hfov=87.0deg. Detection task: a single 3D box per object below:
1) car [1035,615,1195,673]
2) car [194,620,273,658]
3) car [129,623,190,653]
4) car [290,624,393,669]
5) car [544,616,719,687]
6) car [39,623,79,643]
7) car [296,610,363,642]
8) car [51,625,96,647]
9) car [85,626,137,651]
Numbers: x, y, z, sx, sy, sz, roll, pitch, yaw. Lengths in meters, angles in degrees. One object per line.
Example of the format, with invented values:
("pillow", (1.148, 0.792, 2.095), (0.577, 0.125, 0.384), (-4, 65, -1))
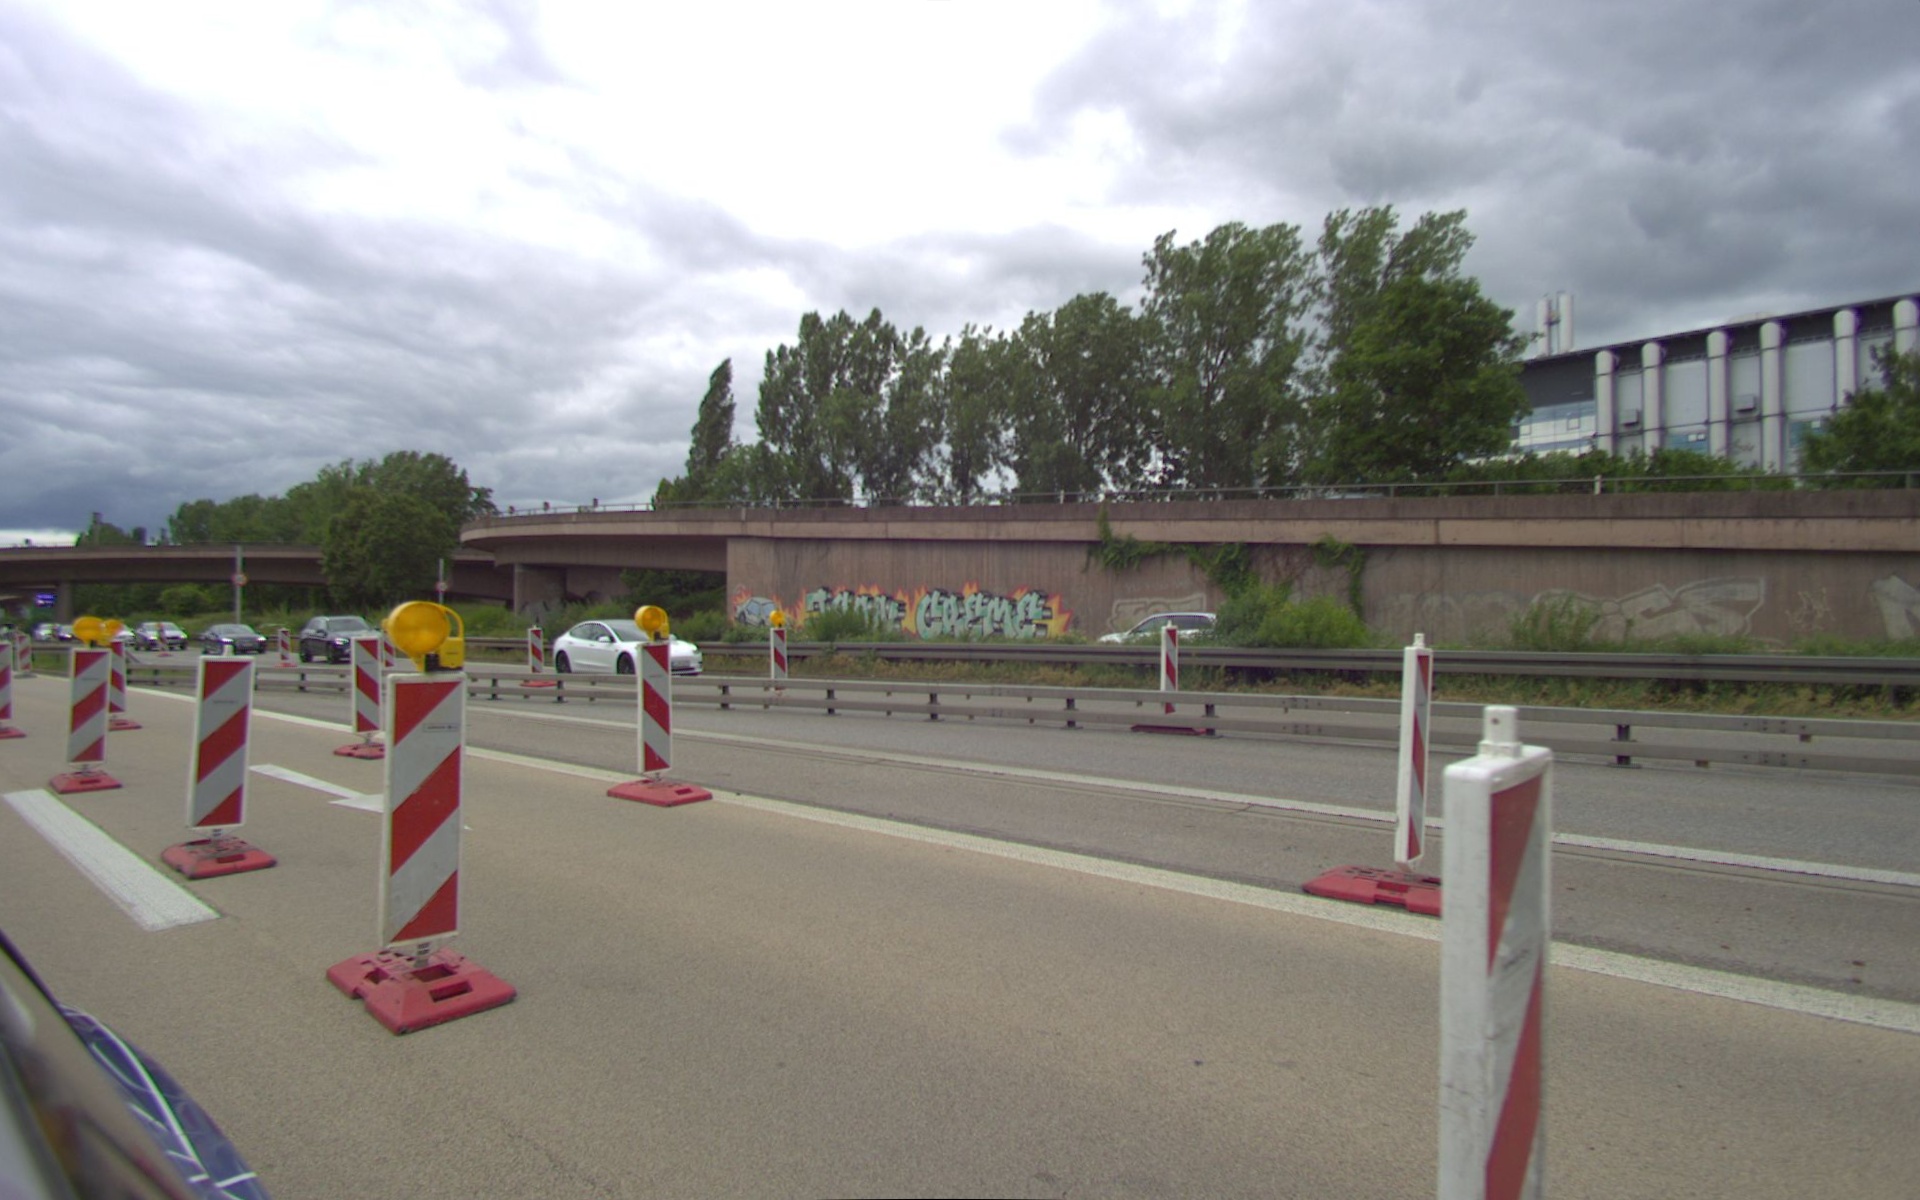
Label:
("car", (4.212, 1.171, 27.766), (3.975, 1.463, 1.871), (-1, -2, 39))
("car", (-33.957, 1.788, 47.274), (3.993, 1.716, 1.913), (-1, -2, 37))
("car", (-44.076, 2.066, 55.710), (3.996, 1.523, 1.780), (0, -1, 39))
("car", (-22.391, 1.633, 36.603), (4.289, 1.522, 1.955), (-1, -1, 40))
("car", (-7.939, 1.190, 24.269), (4.458, 1.553, 1.972), (-1, -3, 41))
("car", (-73.891, 2.709, 82.971), (4.290, 1.606, 1.972), (-1, -2, 41))
("car", (-33.771, 1.387, 54.169), (4.288, 1.652, 1.835), (-1, -1, 40))
("car", (-65.674, 2.653, 74.955), (4.290, 1.606, 1.972), (-1, -2, 41))
("car", (-55.120, 2.486, 65.690), (3.998, 1.606, 1.972), (-1, -2, 41))
